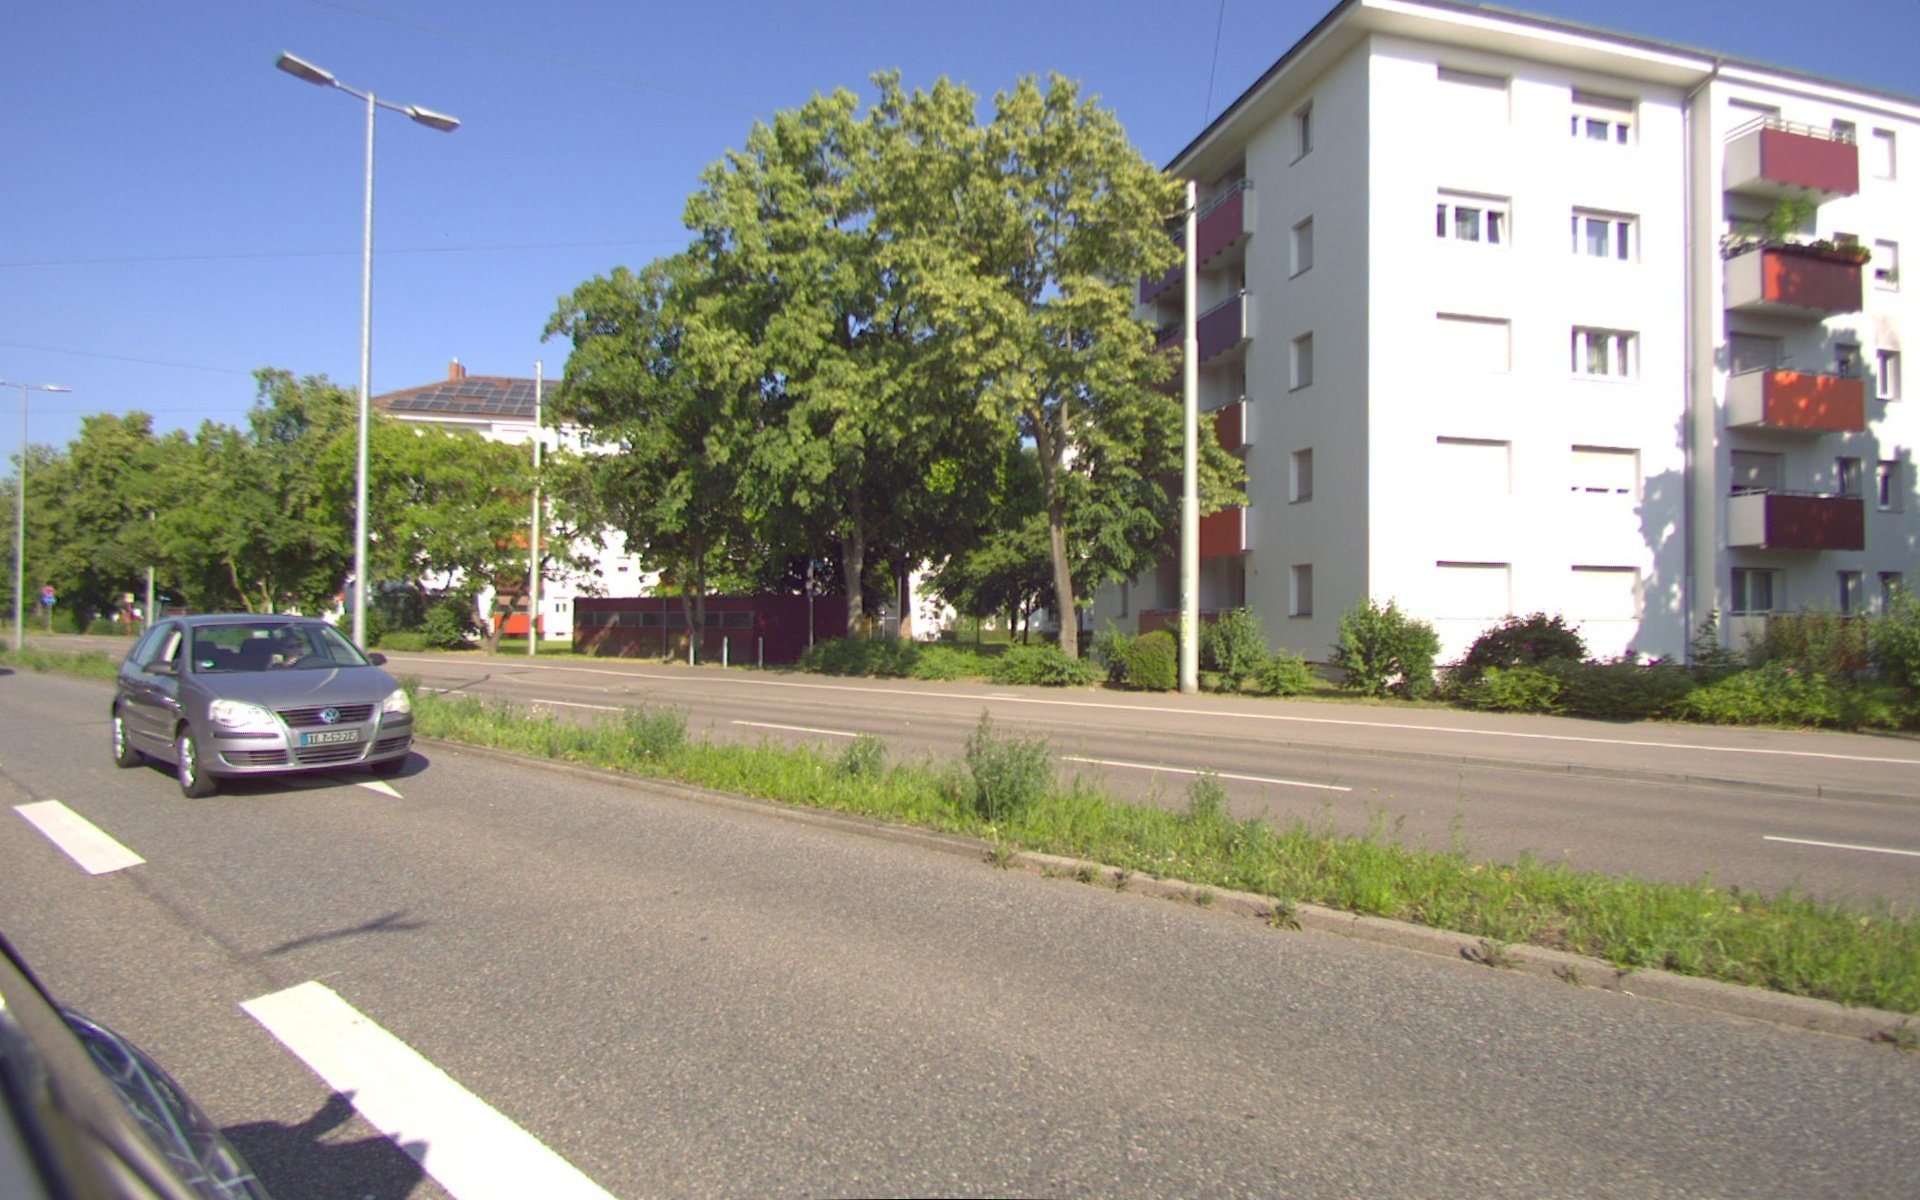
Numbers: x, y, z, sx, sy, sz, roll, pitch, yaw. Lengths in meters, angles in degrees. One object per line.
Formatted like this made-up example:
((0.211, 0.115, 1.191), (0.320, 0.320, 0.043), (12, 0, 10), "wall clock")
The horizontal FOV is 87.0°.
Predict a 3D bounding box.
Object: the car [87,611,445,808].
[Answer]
((-6.481, 0.840, 9.312), (3.828, 1.439, 1.672), (-1, -1, 38), "car")
